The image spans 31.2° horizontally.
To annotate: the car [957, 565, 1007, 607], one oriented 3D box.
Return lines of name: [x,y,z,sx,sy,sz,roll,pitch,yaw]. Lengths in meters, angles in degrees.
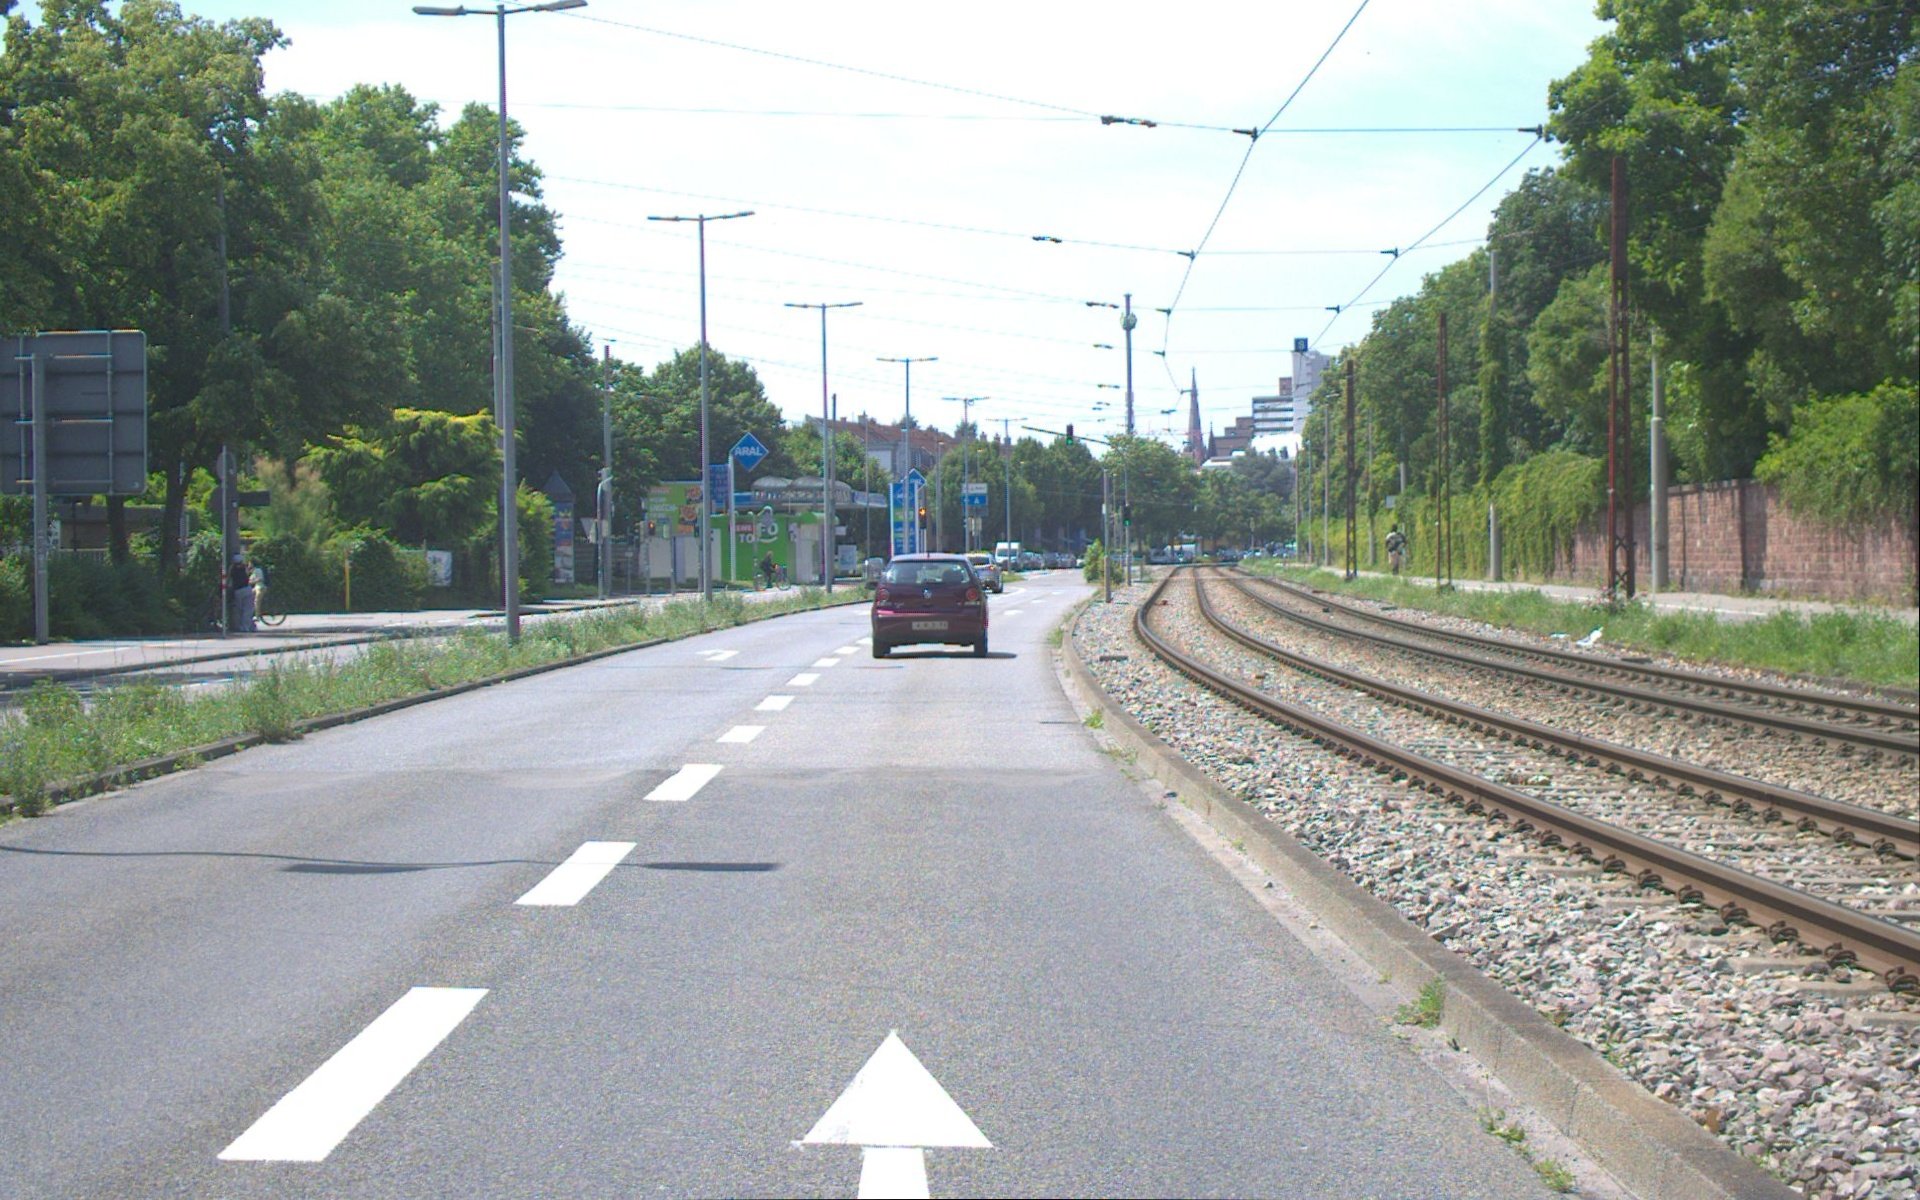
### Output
car: [0.786,-0.535,126.651,1.702,1.475,3.717,1,1,-1]

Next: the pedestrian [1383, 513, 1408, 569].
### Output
pedestrian: [13.533,-1.829,106.823,0.661,1.720,0.816,-1,1,3]

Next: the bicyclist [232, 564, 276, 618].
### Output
bicyclist: [-18.589,-0.234,90.518,0.961,1.398,0.491,-2,1,-37]

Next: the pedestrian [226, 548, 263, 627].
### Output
pedestrian: [-15.771,-0.274,75.770,0.549,1.712,0.603,-1,1,16]

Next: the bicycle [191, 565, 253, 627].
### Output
bicycle: [-16.308,-0.085,76.043,0.646,1.323,1.572,-1,1,16]

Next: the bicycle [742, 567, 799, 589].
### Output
bicycle: [-8.970,-1.051,162.454,2.549,1.034,1.088,0,0,-11]

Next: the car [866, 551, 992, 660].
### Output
car: [-0.419,0.081,49.154,1.703,1.472,3.716,1,0,0]

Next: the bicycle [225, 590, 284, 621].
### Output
bicycle: [-18.569,0.153,90.534,1.428,0.771,0.497,-2,1,-38]

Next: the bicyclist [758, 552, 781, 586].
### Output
bicyclist: [-9.019,-1.466,162.473,0.944,1.588,1.088,0,0,-11]
